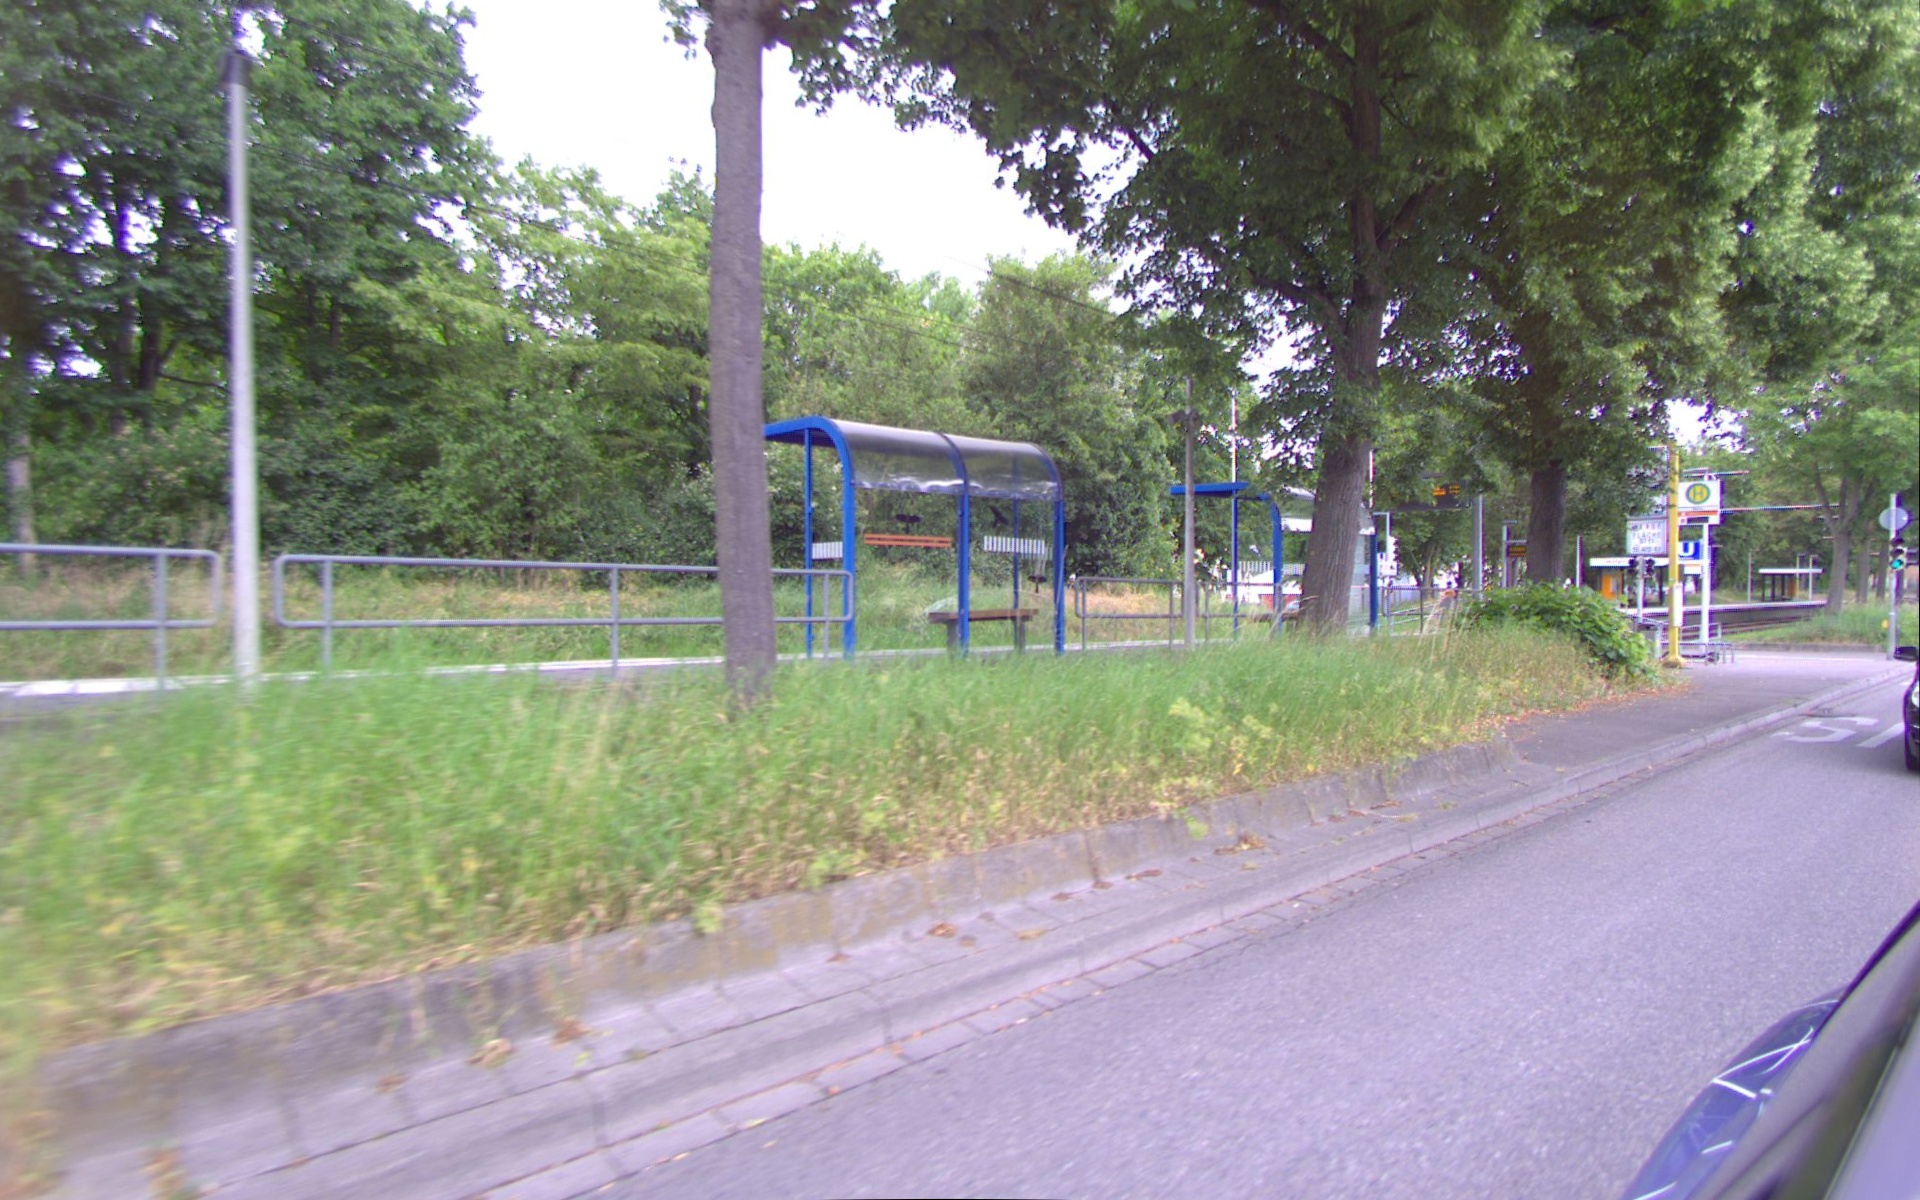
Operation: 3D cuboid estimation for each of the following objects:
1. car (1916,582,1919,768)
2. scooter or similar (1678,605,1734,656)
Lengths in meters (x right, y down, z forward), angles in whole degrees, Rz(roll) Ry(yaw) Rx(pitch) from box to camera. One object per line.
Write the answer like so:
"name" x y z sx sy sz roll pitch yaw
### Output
"car" 10.392 0.630 9.509 4.405 1.594 1.681 0 0 -42
"scooter or similar" 18.347 0.736 24.896 1.084 1.223 0.358 1 0 42
